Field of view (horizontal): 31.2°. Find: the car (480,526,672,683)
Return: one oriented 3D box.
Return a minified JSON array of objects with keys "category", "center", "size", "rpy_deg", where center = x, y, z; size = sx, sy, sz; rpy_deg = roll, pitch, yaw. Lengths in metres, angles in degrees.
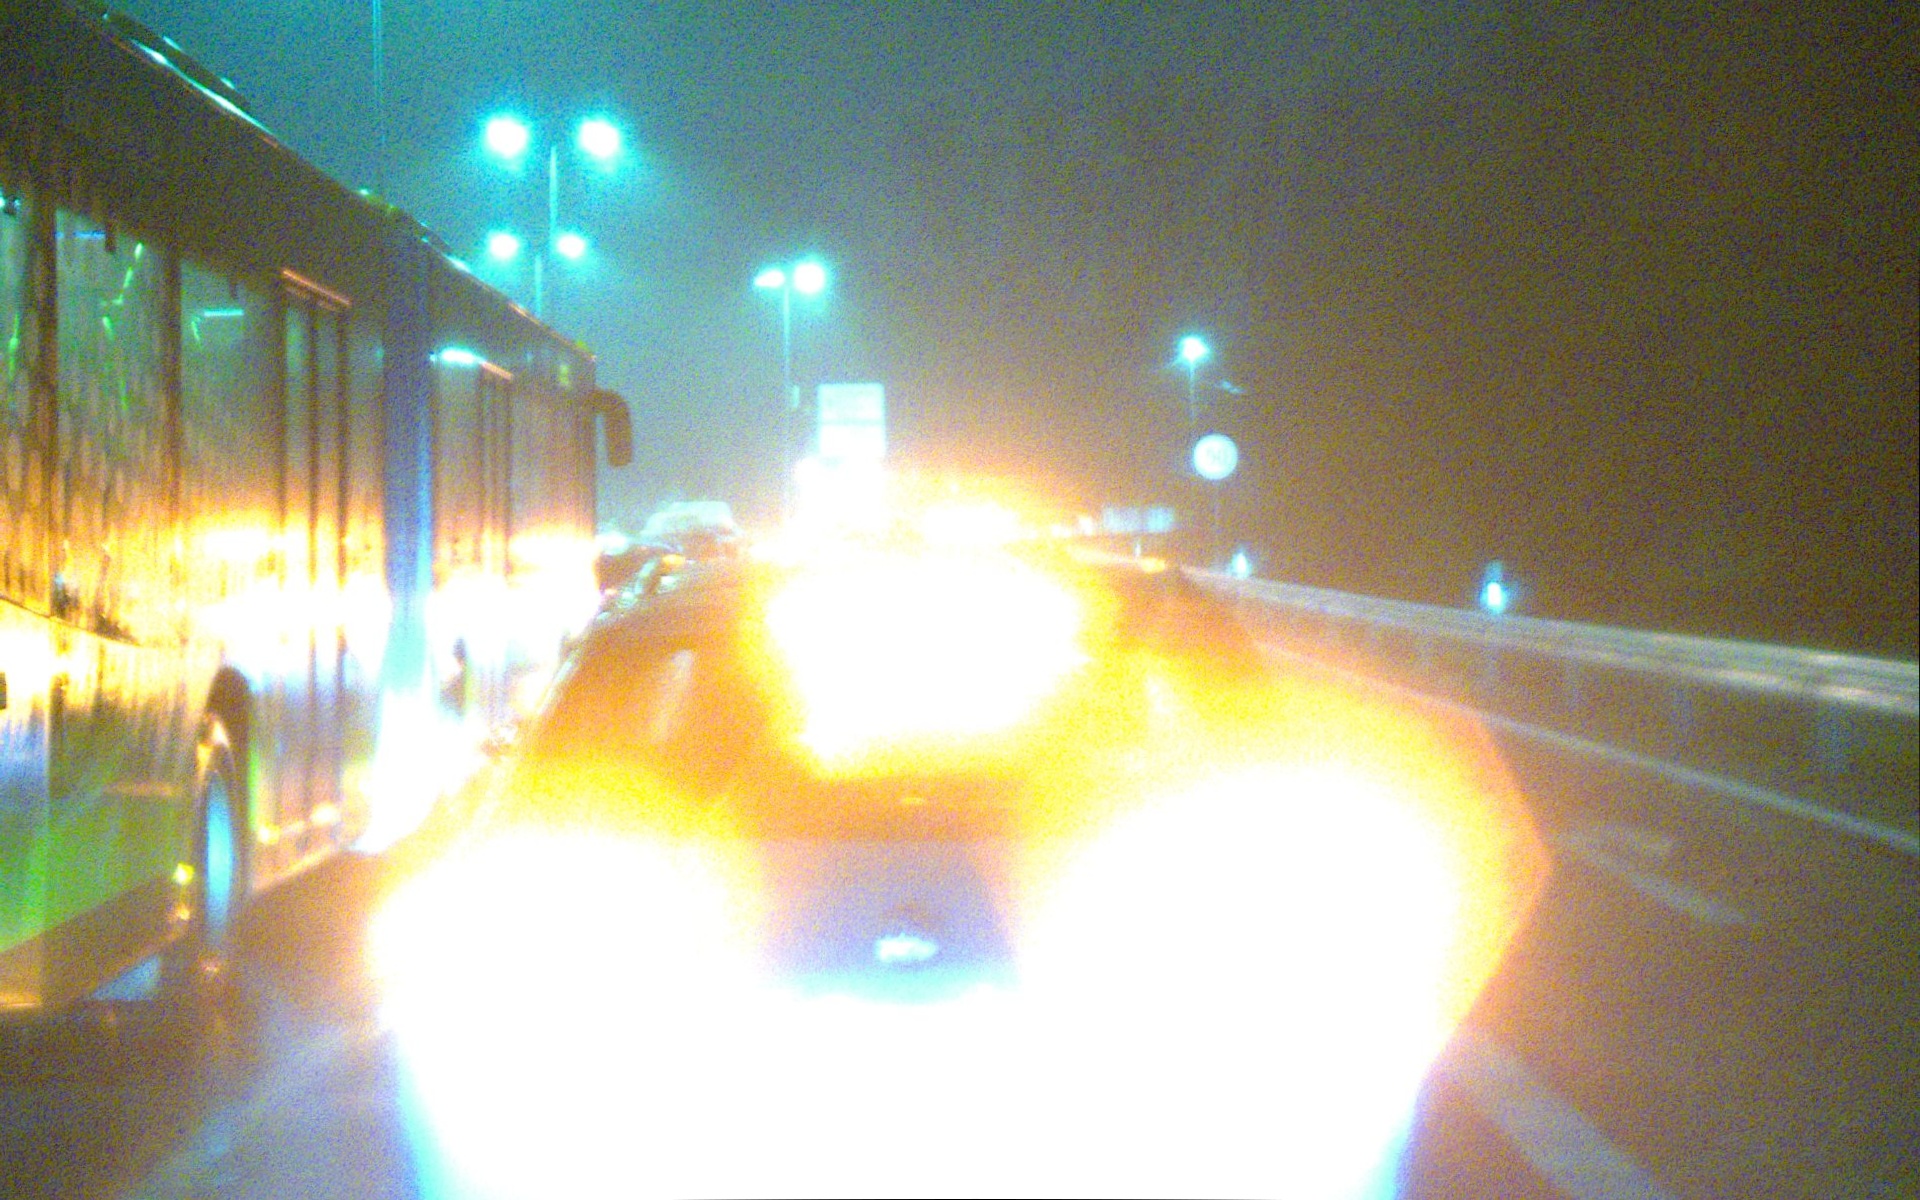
[{"category":"car","center":[-3.962,0.006,35.991],"size":[1.779,1.538,3.875],"rpy_deg":[0,1,-3]}]

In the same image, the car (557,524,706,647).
[{"category":"car","center":[-4.312,-0.224,45.536],"size":[1.779,1.538,3.875],"rpy_deg":[0,1,-3]}]

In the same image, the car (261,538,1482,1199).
[{"category":"car","center":[-0.208,0.614,7.423],"size":[1.821,1.479,4.568],"rpy_deg":[0,1,-2]}]

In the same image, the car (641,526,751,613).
[{"category":"car","center":[-4.837,-0.584,63.330],"size":[1.779,1.538,3.875],"rpy_deg":[0,1,-1]}]

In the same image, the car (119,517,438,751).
[{"category":"car","center":[-4.803,0.189,24.690],"size":[1.779,1.538,3.875],"rpy_deg":[0,1,-4]}]

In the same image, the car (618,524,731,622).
[{"category":"car","center":[-4.683,-0.468,56.661],"size":[1.779,1.538,3.875],"rpy_deg":[0,1,-4]}]

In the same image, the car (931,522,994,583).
[{"category":"car","center":[0.064,-1.521,109.982],"size":[1.952,1.875,4.000],"rpy_deg":[1,1,-1]}]

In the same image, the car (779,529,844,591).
[{"category":"car","center":[-4.457,-1.203,103.599],"size":[1.816,1.791,3.803],"rpy_deg":[1,1,-1]}]

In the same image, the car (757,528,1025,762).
[{"category":"car","center":[-0.572,0.263,24.959],"size":[1.739,1.559,3.777],"rpy_deg":[0,1,-4]}]

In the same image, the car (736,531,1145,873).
[{"category":"car","center":[-0.186,0.390,17.019],"size":[1.731,1.444,4.725],"rpy_deg":[0,1,-3]}]

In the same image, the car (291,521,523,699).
[{"category":"car","center":[-5.035,0.049,31.701],"size":[1.779,1.538,3.875],"rpy_deg":[0,1,-4]}]

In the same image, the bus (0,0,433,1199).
[{"category":"bus","center":[-3.645,-0.282,11.426],"size":[2.815,3.013,8.688],"rpy_deg":[0,1,-2]}]
